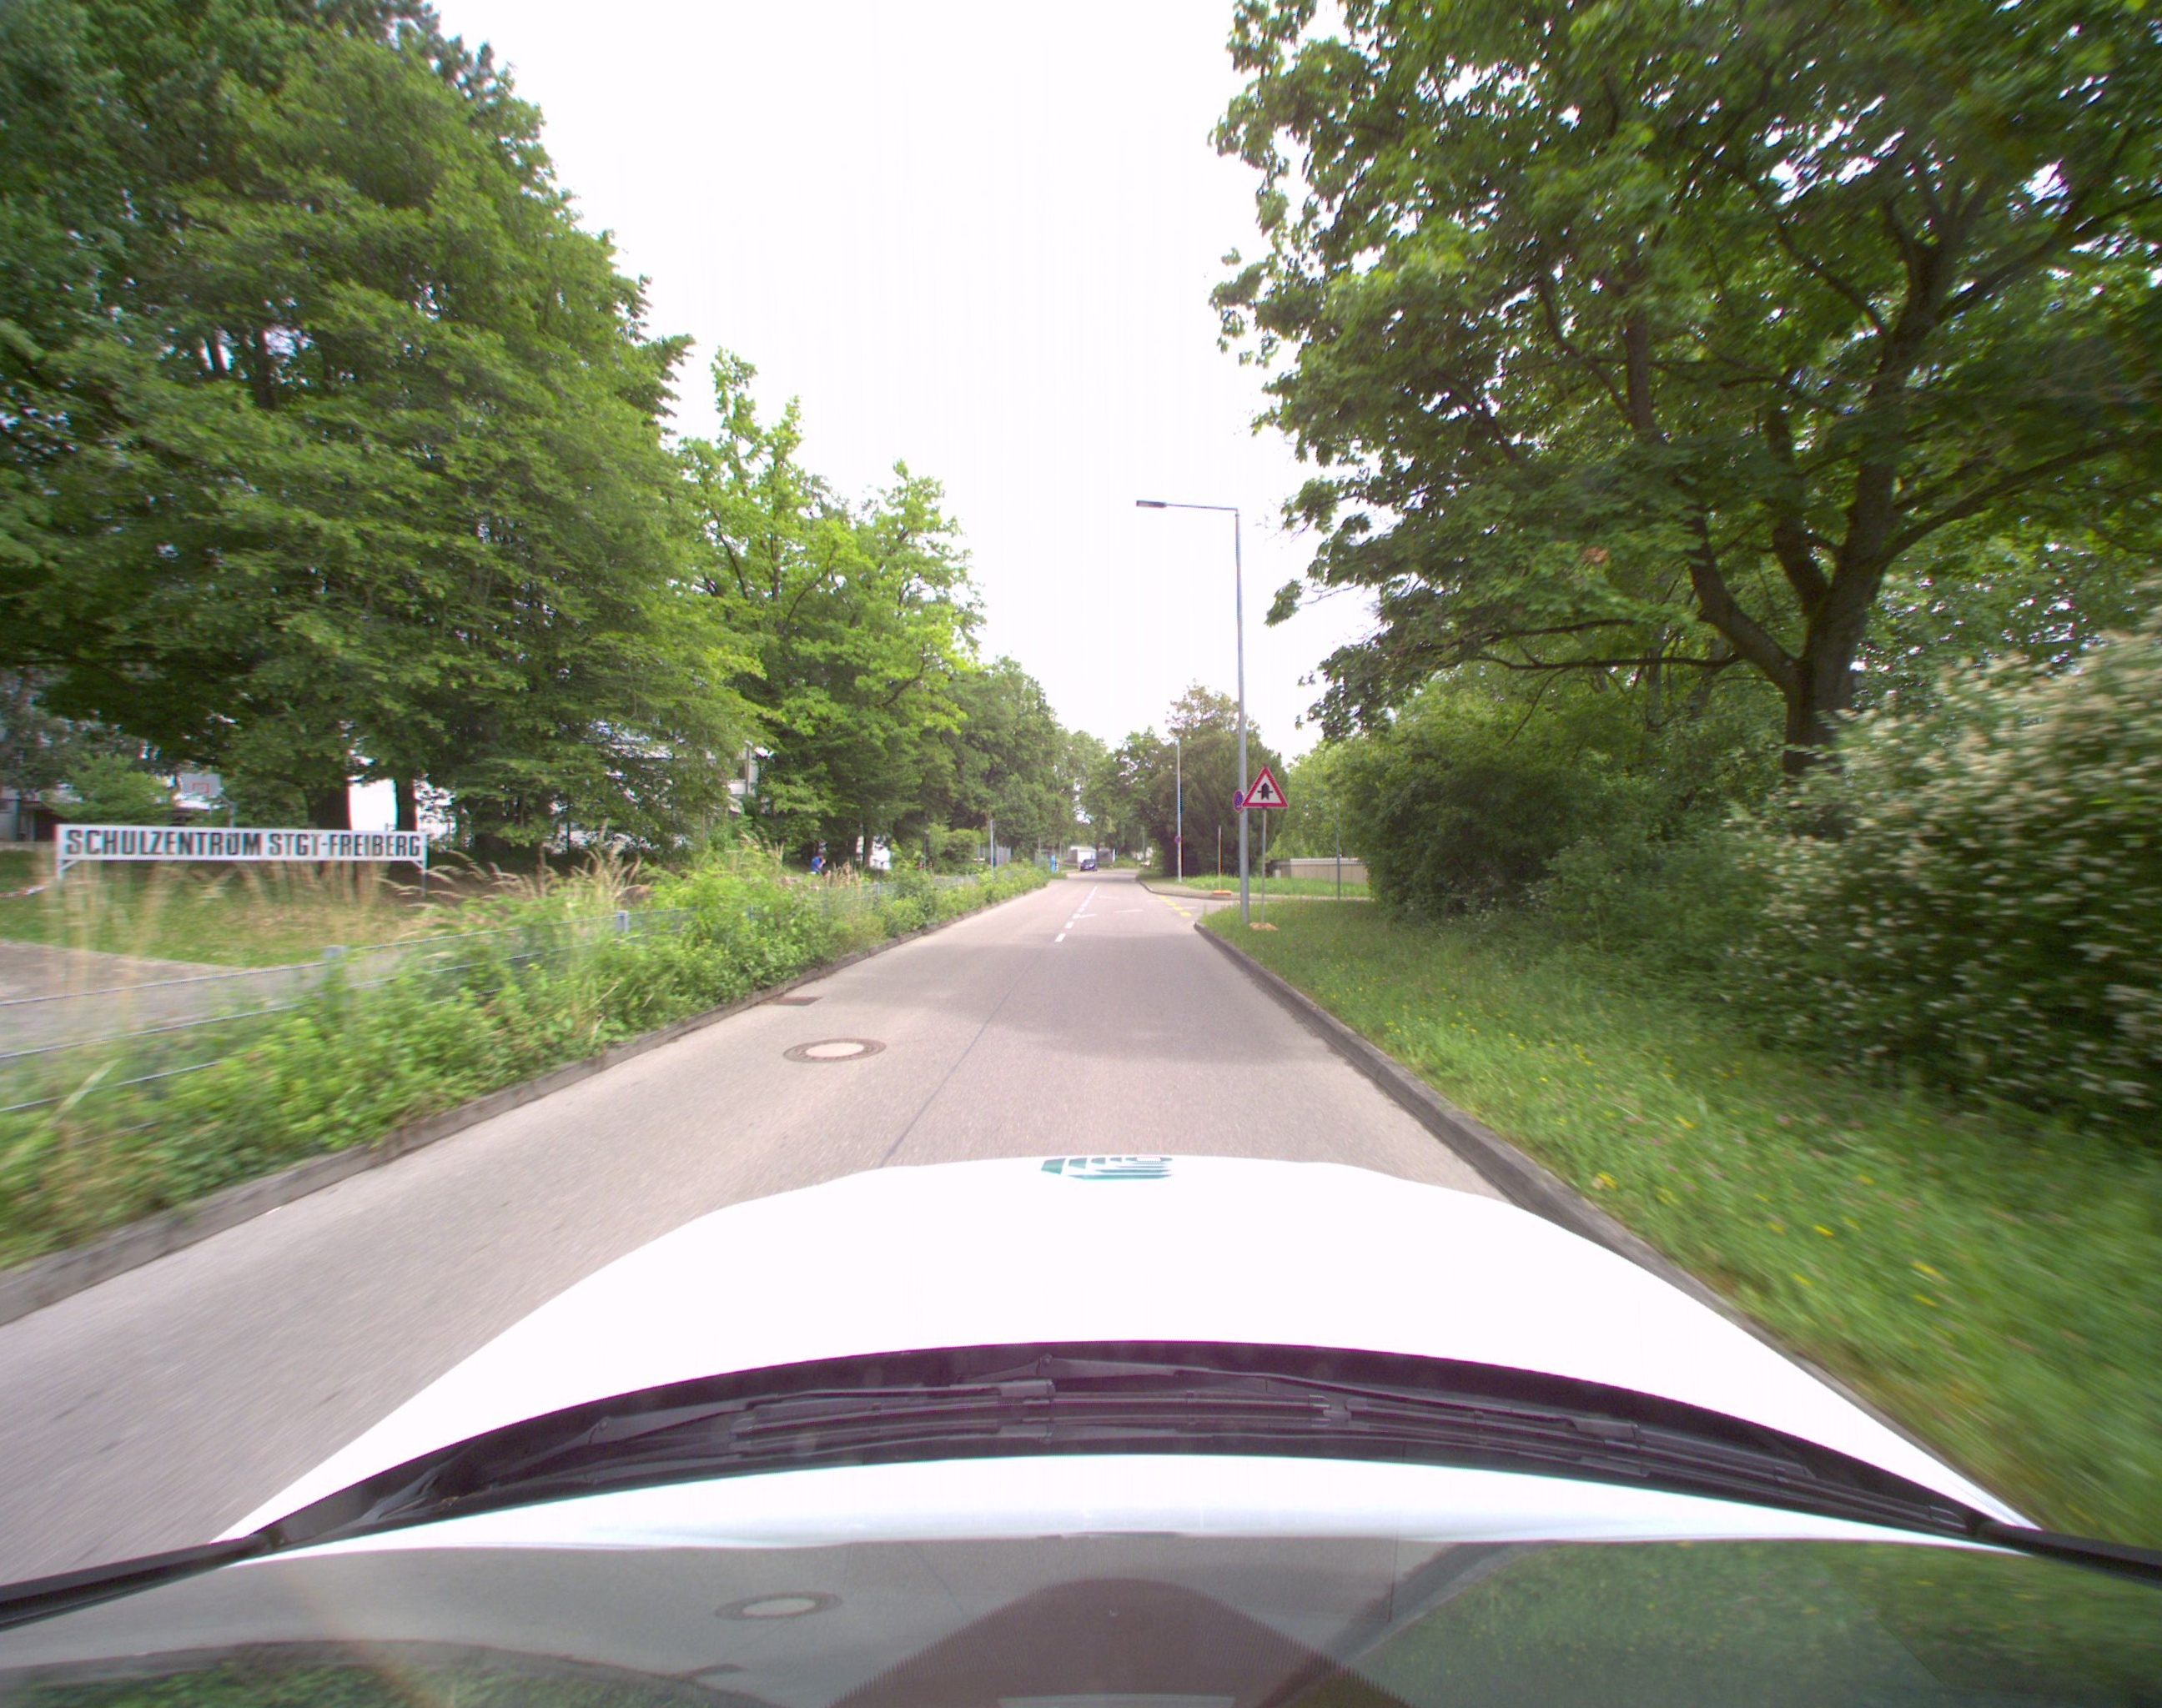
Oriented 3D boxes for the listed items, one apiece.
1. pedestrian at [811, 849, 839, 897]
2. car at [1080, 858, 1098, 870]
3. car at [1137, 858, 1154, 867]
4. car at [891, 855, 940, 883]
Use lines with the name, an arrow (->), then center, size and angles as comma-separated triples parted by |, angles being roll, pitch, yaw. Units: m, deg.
pedestrian -> -9.120, 0.675, 29.035 | 0.757, 1.662, 0.809 | -1, -1, 0
car -> 0.962, 1.230, 99.460 | 1.670, 1.512, 4.440 | 0, -1, 8
car -> 10.800, 1.426, 136.194 | 1.685, 1.403, 4.295 | 1, -1, 21
car -> -12.165, 1.087, 60.051 | 1.979, 2.014, 4.015 | -1, 0, 14
